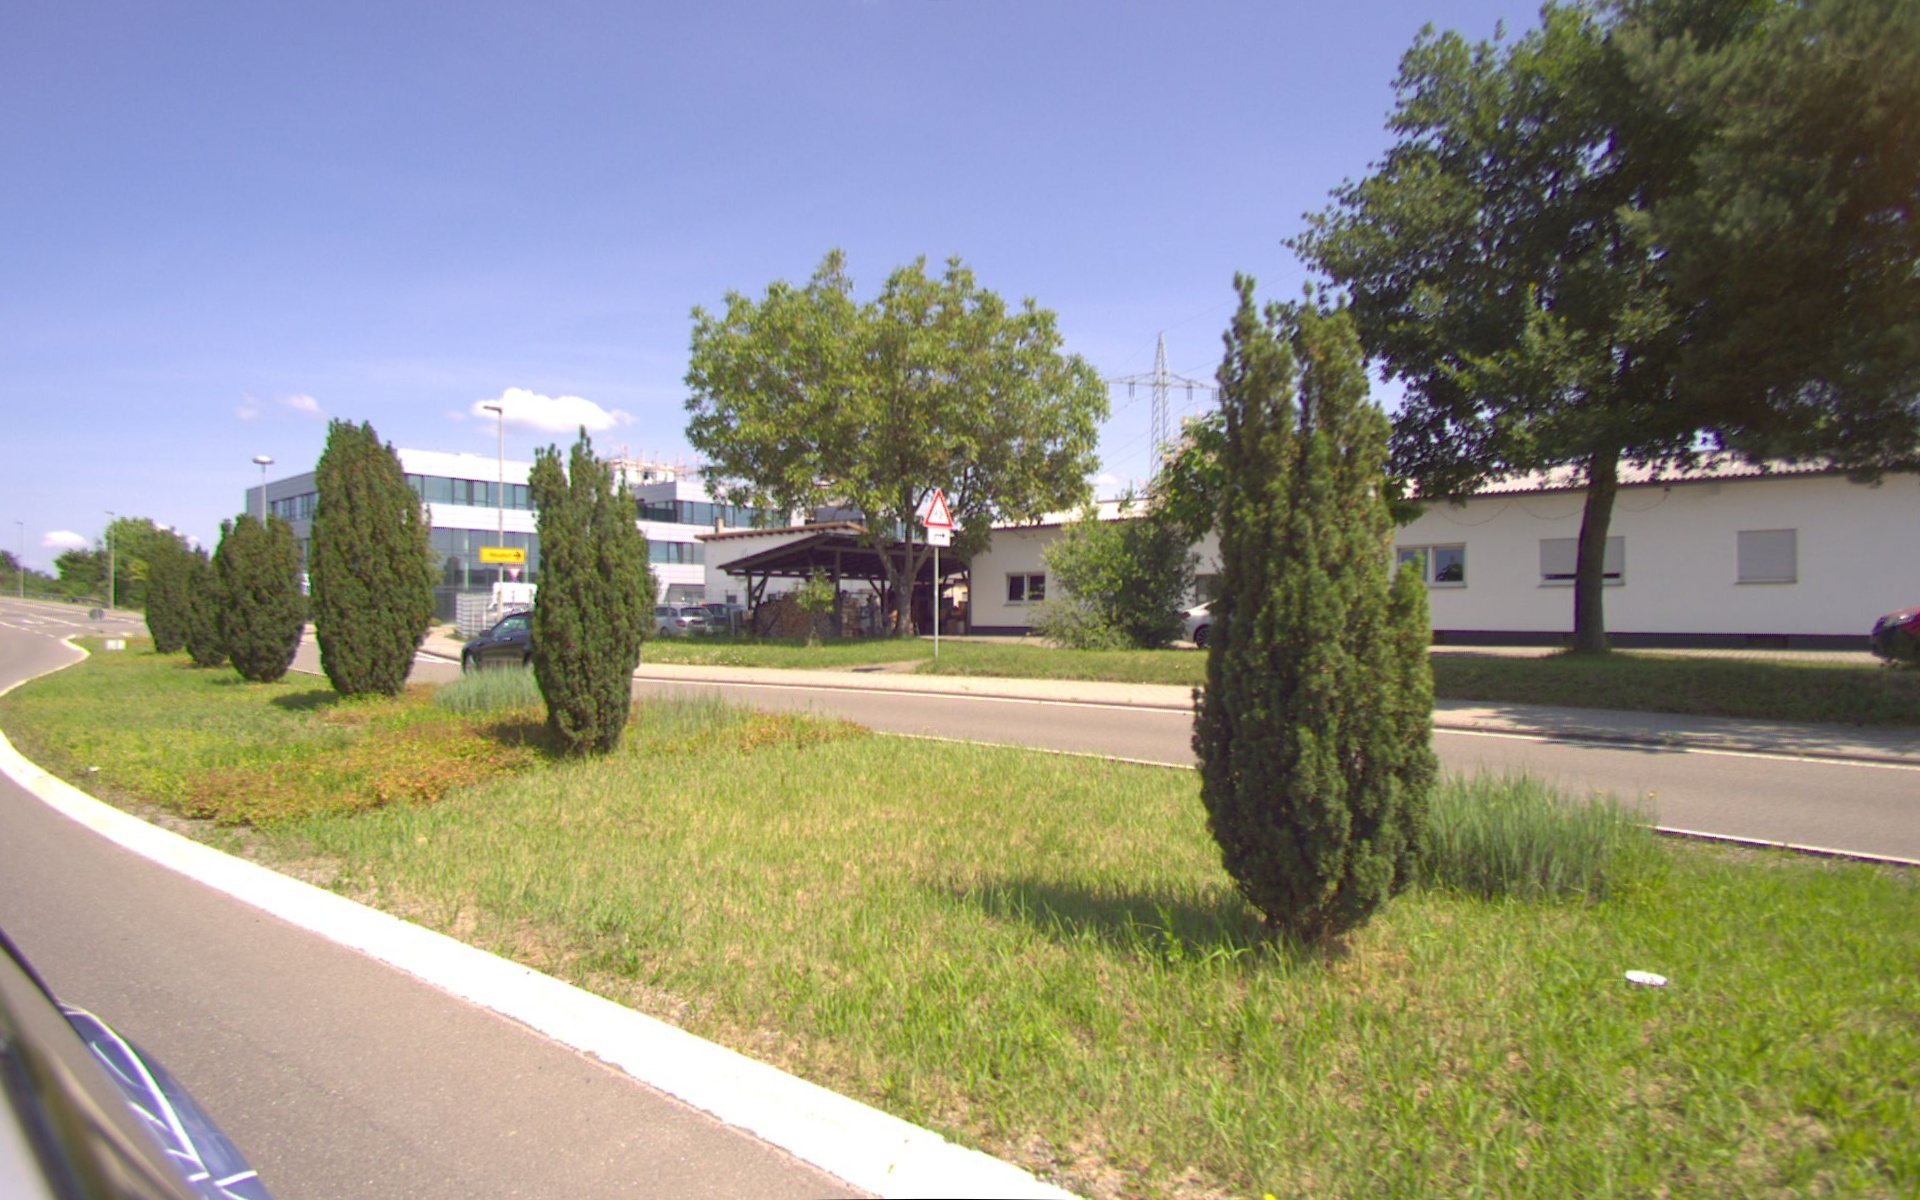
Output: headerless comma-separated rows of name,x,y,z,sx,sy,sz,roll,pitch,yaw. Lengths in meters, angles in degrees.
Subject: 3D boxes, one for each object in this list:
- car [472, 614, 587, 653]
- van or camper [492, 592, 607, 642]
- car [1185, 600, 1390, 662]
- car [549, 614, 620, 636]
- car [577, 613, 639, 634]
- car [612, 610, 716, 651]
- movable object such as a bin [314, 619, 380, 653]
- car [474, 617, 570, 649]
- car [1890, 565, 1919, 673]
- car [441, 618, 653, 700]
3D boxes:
car,-17.693,1.348,41.652,3.938,1.530,2.003,1,-1,-42
van or camper,-21.552,0.885,53.366,5.492,2.516,2.085,0,-1,-21
car,8.144,0.743,25.417,4.516,1.419,1.972,-1,-1,43
car,-23.340,1.541,63.010,3.932,1.331,2.006,0,-1,-15
car,-22.714,1.500,65.402,3.680,1.331,1.906,0,-1,-15
car,-11.154,1.115,38.053,3.999,1.453,1.972,-1,-1,42
movable object such as a bin,-47.188,2.732,77.880,5.443,2.428,2.148,0,-1,32
car,-19.418,1.435,44.865,3.823,1.331,1.697,0,-1,-27
car,17.752,0.293,16.091,4.226,1.758,1.973,-1,-2,40
car,-8.150,1.066,19.755,4.863,1.404,1.879,-1,-2,41
